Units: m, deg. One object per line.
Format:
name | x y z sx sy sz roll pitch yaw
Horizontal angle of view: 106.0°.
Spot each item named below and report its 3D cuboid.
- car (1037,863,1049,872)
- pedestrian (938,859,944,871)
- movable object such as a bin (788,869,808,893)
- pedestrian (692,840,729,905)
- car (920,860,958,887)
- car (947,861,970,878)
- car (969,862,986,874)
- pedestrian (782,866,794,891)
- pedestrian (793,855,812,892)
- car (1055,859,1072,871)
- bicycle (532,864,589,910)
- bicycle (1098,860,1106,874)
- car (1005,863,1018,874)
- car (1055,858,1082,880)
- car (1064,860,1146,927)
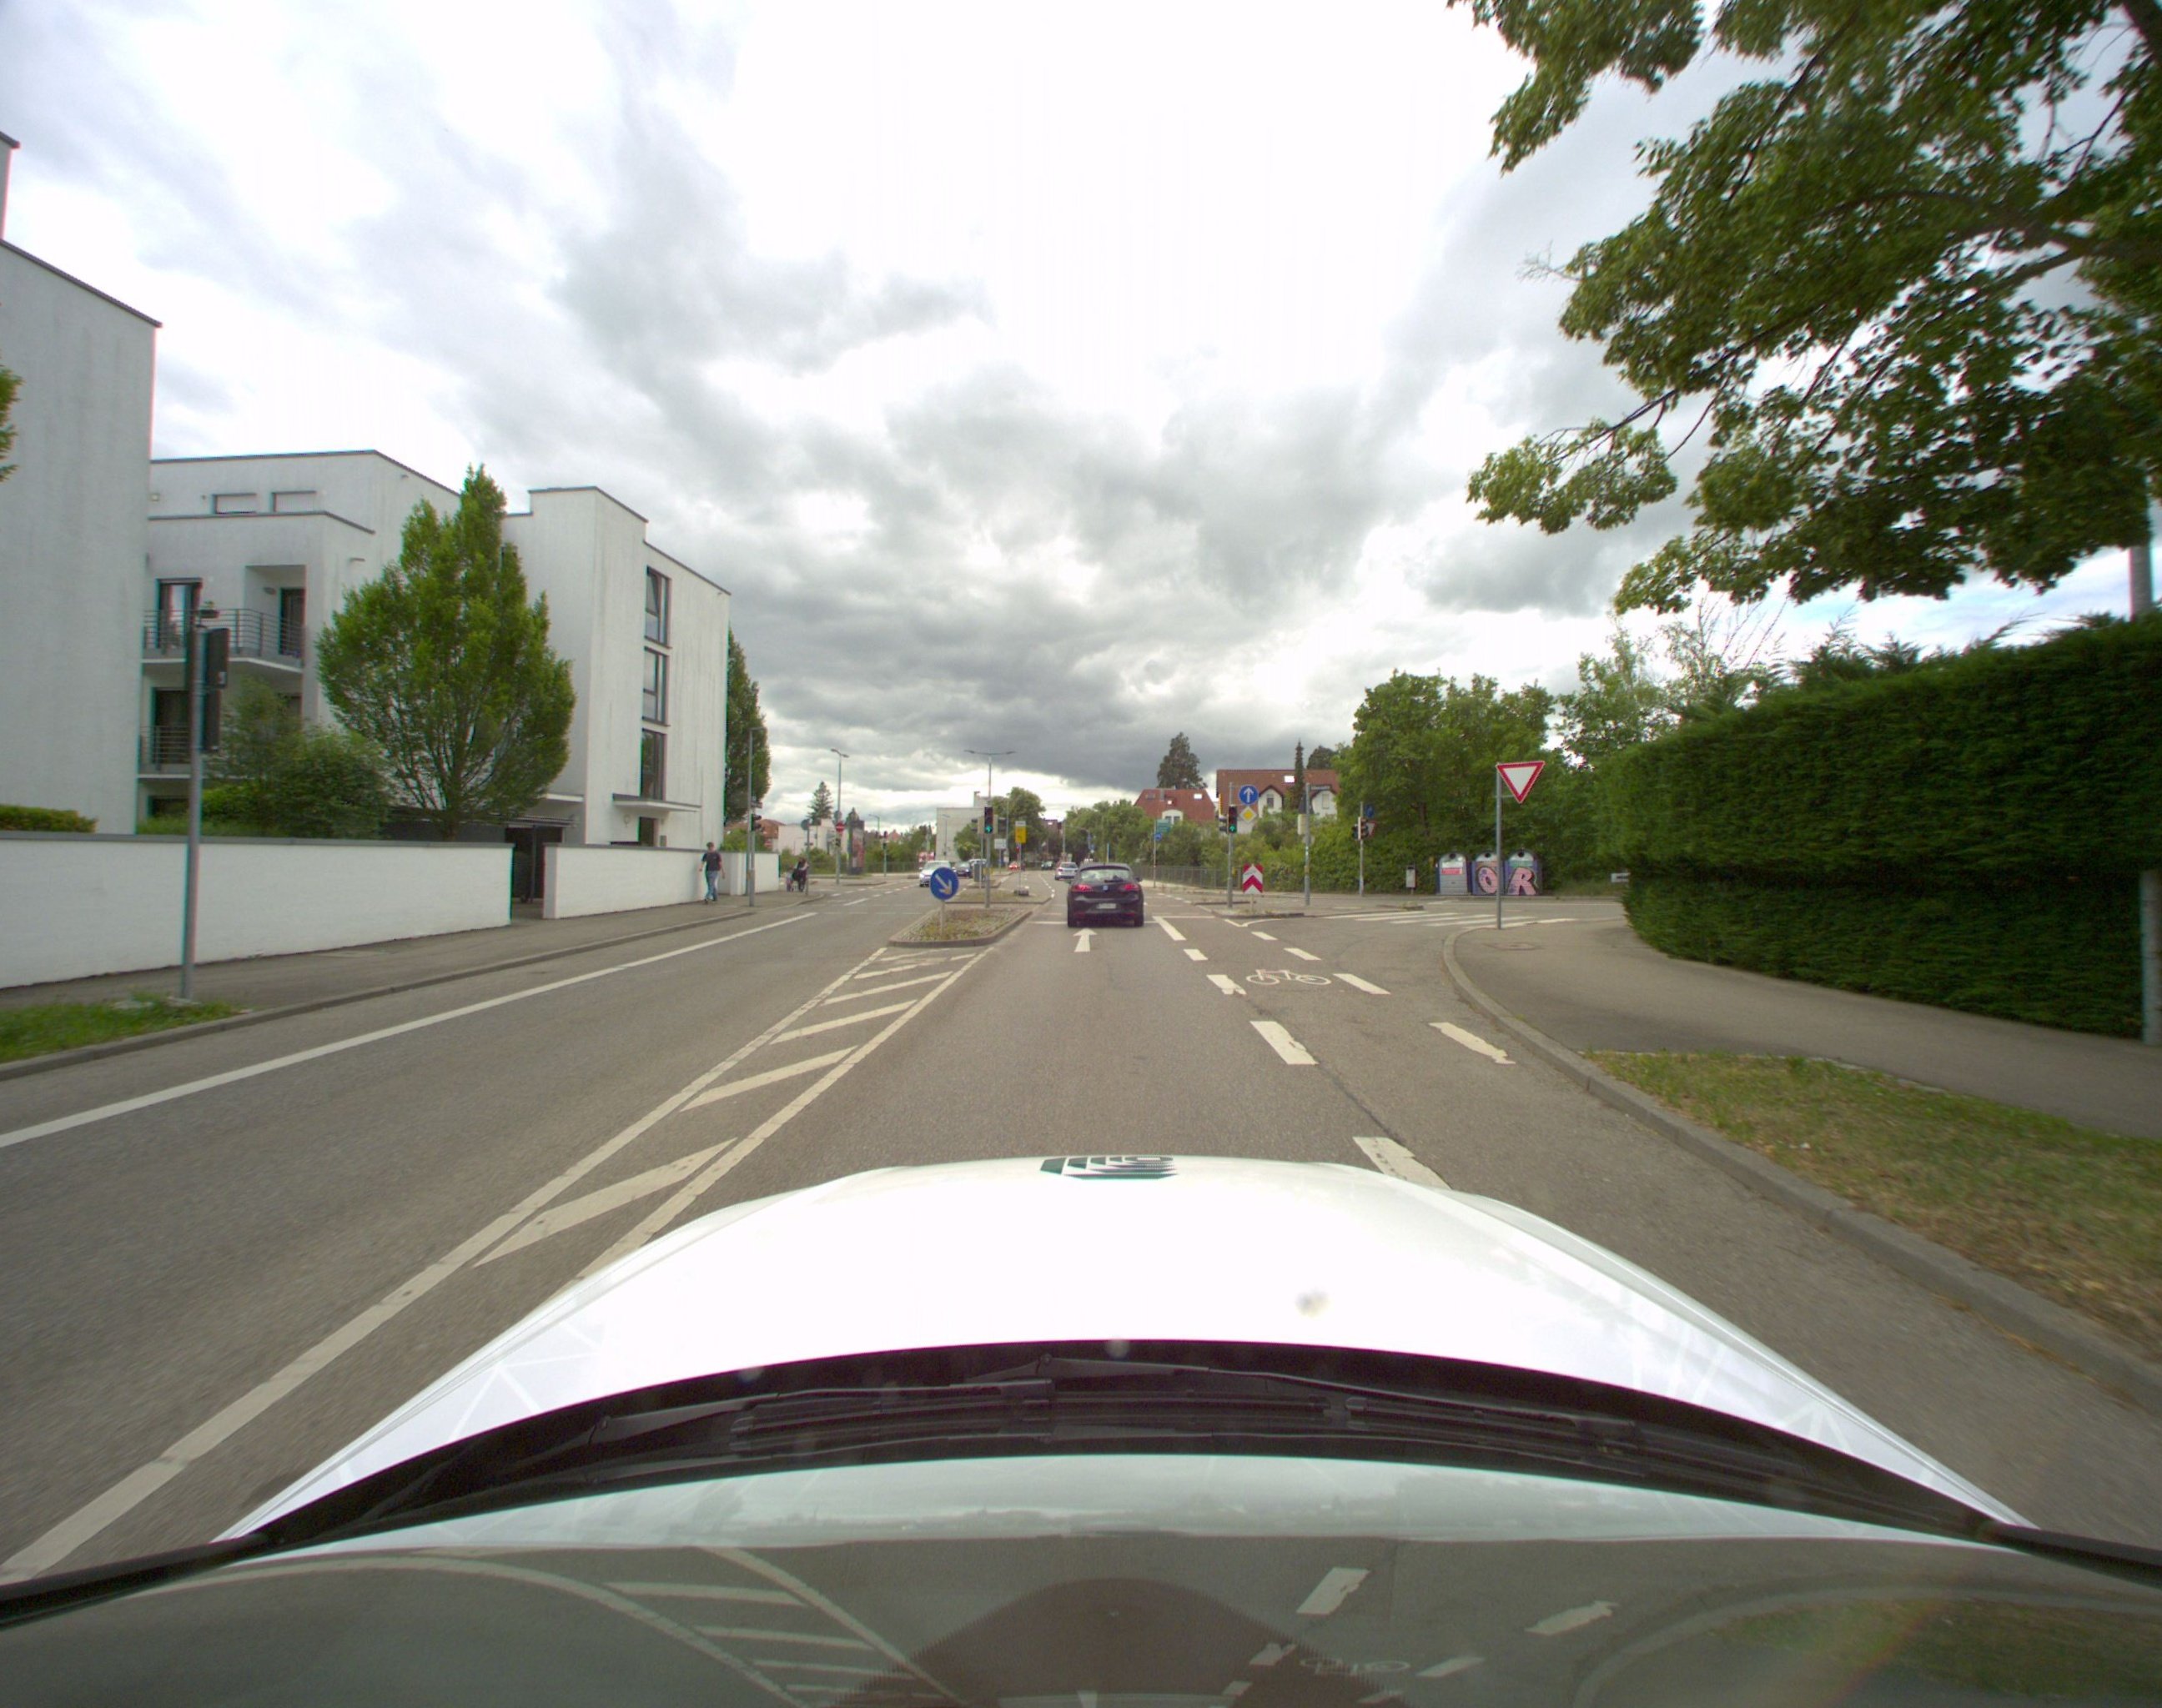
car | -6.492 2.269 137.870 1.820 1.626 4.270 1 -1 -5
pedestrian | -18.520 1.431 107.692 0.656 1.633 1.067 2 -1 -10
movable object such as a bin | -12.071 1.142 34.753 0.496 0.960 0.984 5 -1 -6
pedestrian | -11.503 0.578 25.294 0.647 1.948 0.870 3 -1 -3
car | -7.848 1.043 45.281 1.796 1.444 3.941 0 -1 -5
car | -10.274 1.294 68.546 1.718 1.391 3.910 -1 -1 -5
car | -11.670 1.575 91.988 1.640 1.409 3.811 1 -1 -5
pedestrian | -12.762 1.044 35.457 0.325 1.062 0.443 4 -1 -5
pedestrian | -12.163 0.854 35.579 0.530 1.543 0.730 5 -1 -6
car | -2.349 1.411 107.898 1.939 1.481 4.244 0 0 -6
bicycle | -14.118 0.870 22.123 0.507 1.164 1.653 -1 0 -1
bicycle | 2.362 1.432 90.029 0.888 1.510 2.784 0 0 2
car | -10.037 2.091 117.365 1.718 1.448 4.059 1 -1 -5
car | -1.029 1.161 65.747 1.816 1.699 4.244 0 0 -6
car | 0.518 0.865 19.434 1.754 1.449 3.713 0 0 0
